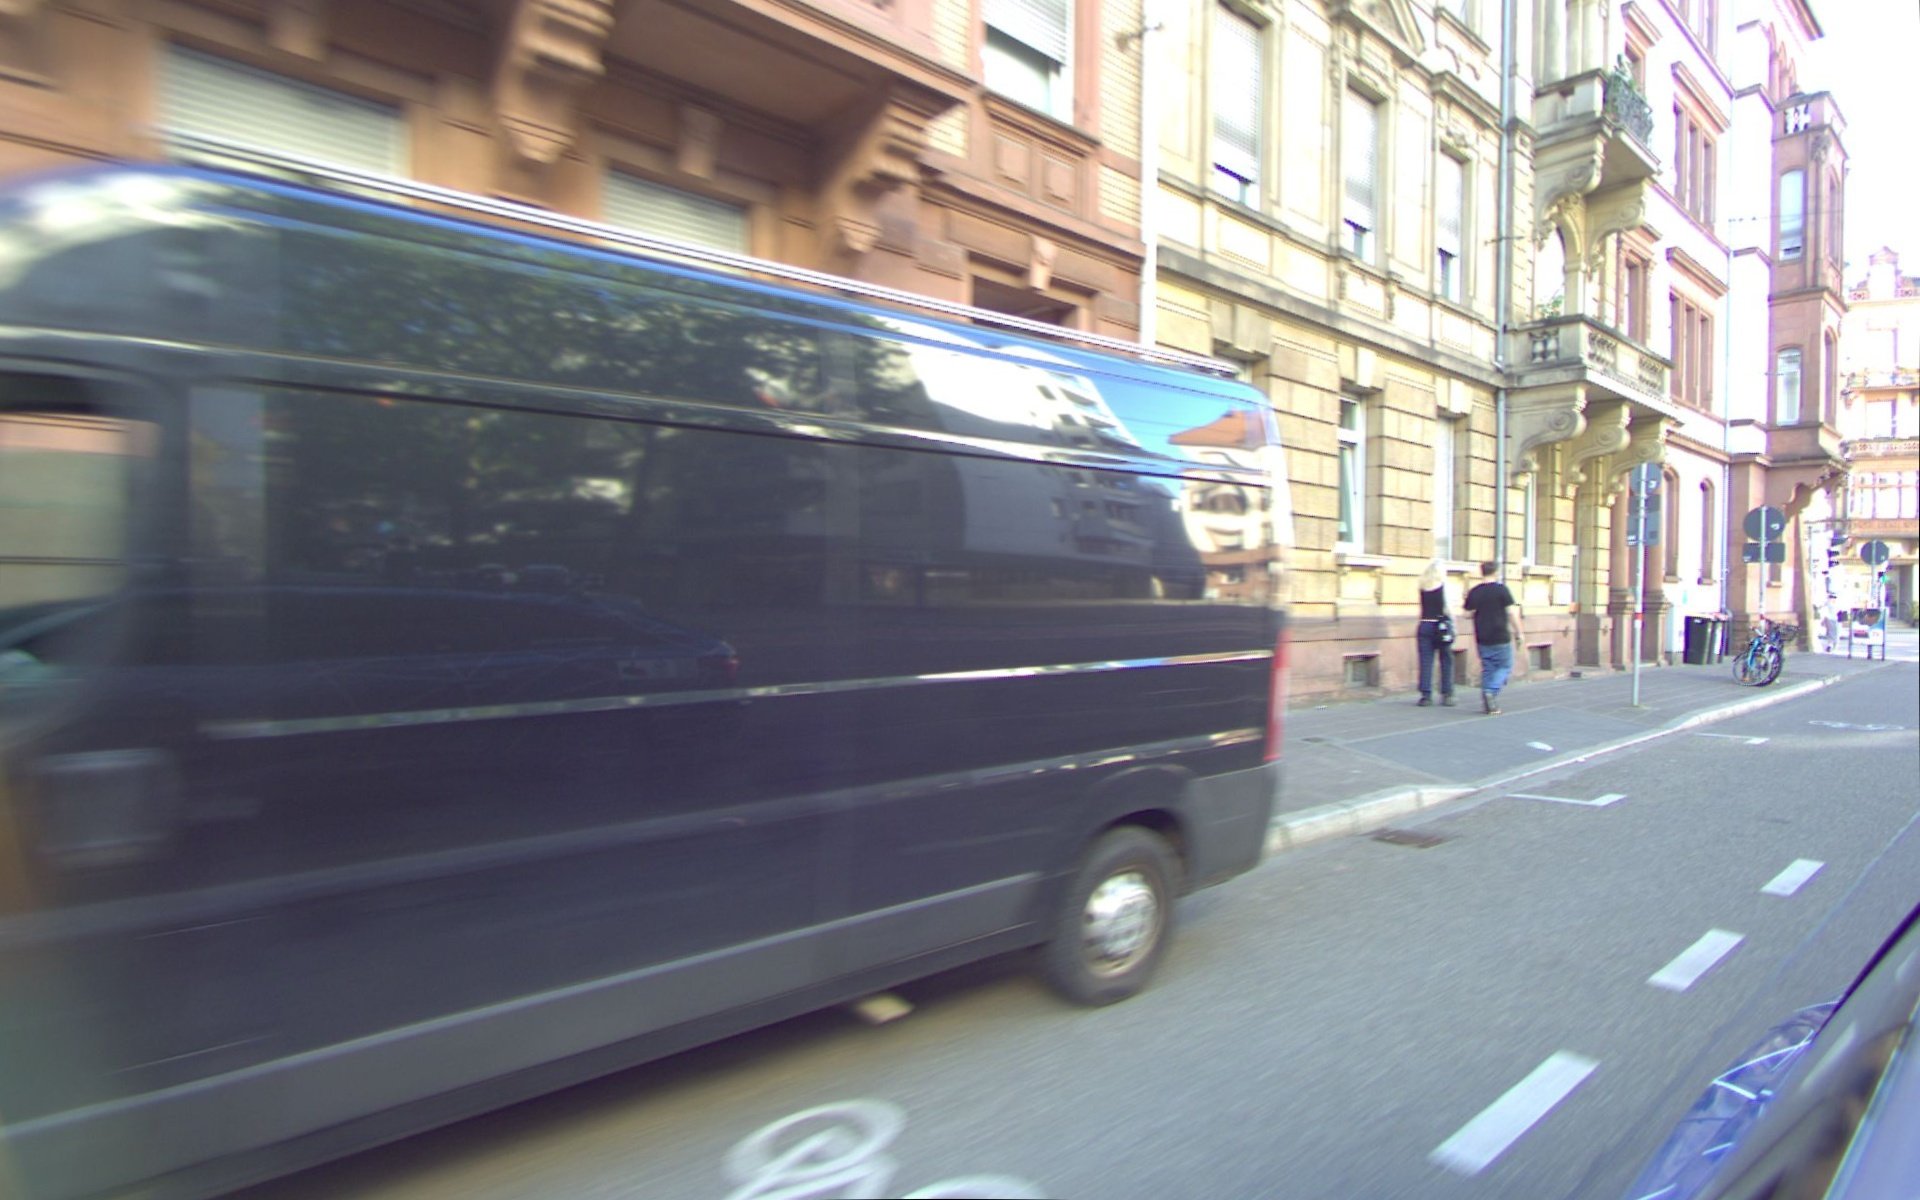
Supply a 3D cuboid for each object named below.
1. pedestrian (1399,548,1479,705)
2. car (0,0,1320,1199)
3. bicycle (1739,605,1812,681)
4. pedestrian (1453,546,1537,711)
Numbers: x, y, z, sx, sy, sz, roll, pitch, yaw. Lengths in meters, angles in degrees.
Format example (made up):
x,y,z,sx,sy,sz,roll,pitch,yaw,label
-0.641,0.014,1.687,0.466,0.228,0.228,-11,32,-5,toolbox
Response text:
x,y,z,sx,sy,sz,roll,pitch,yaw,label
5.867,0.310,12.400,0.742,1.847,0.634,0,0,-41,pedestrian
-1.436,0.212,3.157,5.750,2.524,2.128,-1,0,-39,car
13.579,0.685,16.837,1.659,1.164,0.647,0,1,-41,bicycle
6.225,0.314,11.776,0.742,1.847,0.634,0,0,-41,pedestrian
